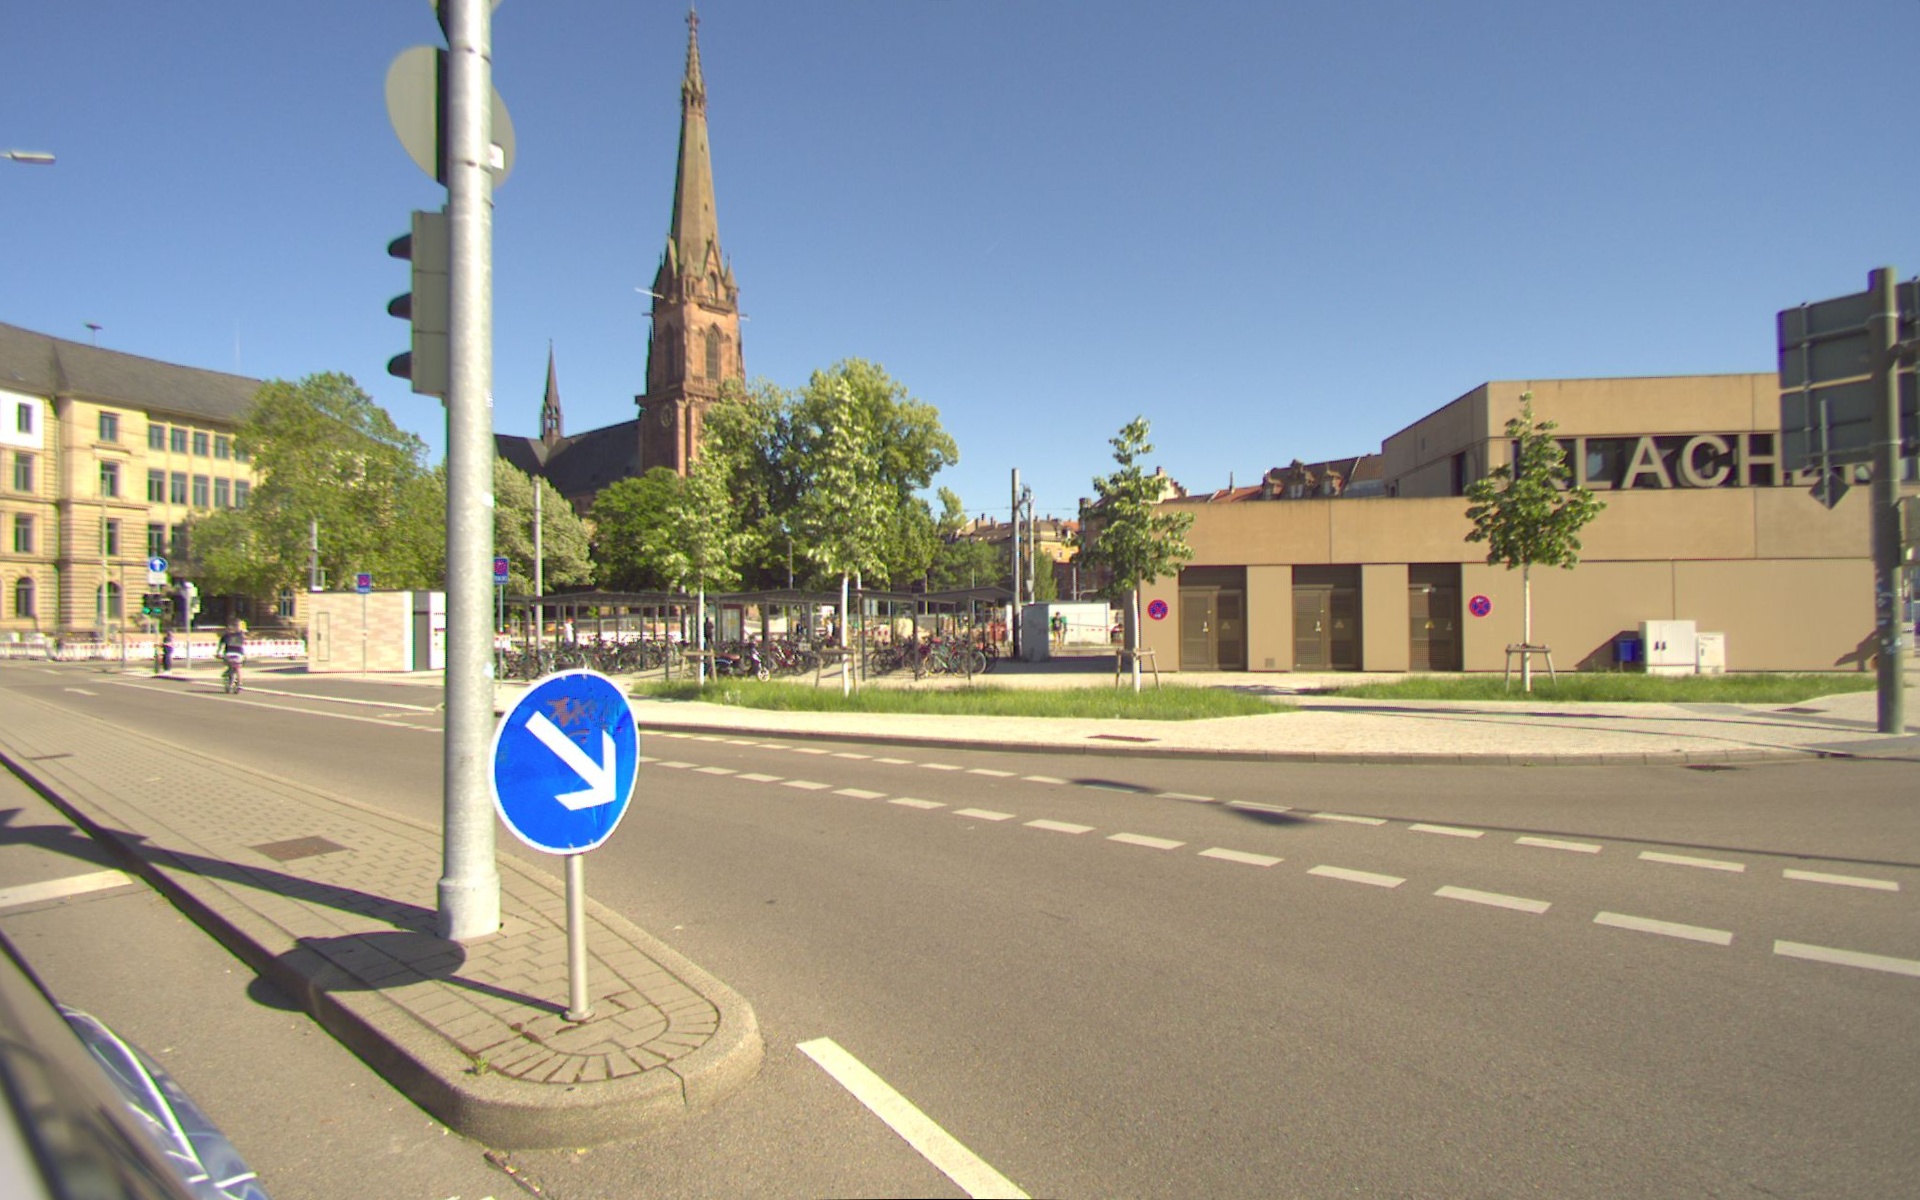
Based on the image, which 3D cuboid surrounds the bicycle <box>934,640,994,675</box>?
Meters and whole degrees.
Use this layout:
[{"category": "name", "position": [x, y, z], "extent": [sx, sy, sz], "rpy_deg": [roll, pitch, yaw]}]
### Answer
[{"category": "bicycle", "position": [0.128, 1.734, 30.717], "extent": [1.769, 1.046, 0.566], "rpy_deg": [0, -2, 12]}]

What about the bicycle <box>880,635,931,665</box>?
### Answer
[{"category": "bicycle", "position": [-1.940, 1.772, 36.003], "extent": [1.765, 1.046, 0.567], "rpy_deg": [0, -2, 5]}]

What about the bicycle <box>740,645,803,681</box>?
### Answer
[{"category": "bicycle", "position": [-5.582, 1.855, 30.054], "extent": [1.765, 1.046, 0.567], "rpy_deg": [0, -2, 5]}]

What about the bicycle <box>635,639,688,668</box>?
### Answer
[{"category": "bicycle", "position": [-10.839, 1.937, 36.816], "extent": [1.765, 1.046, 0.567], "rpy_deg": [0, -2, 5]}]

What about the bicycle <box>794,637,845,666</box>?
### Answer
[{"category": "bicycle", "position": [-5.103, 1.860, 36.783], "extent": [1.765, 1.046, 0.567], "rpy_deg": [0, -2, 5]}]

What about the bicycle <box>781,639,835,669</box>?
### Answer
[{"category": "bicycle", "position": [-5.253, 1.860, 34.912], "extent": [1.765, 1.046, 0.567], "rpy_deg": [0, -2, 5]}]

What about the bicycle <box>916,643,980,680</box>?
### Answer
[{"category": "bicycle", "position": [-0.337, 1.734, 28.624], "extent": [1.765, 1.046, 0.567], "rpy_deg": [0, -2, 5]}]

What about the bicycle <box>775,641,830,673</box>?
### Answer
[{"category": "bicycle", "position": [-5.300, 1.921, 34.147], "extent": [1.765, 1.046, 0.567], "rpy_deg": [0, -2, 5]}]

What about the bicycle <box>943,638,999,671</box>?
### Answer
[{"category": "bicycle", "position": [0.354, 1.733, 32.169], "extent": [1.765, 1.046, 0.567], "rpy_deg": [0, -2, 5]}]

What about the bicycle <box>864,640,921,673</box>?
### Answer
[{"category": "bicycle", "position": [-2.154, 1.793, 32.326], "extent": [1.765, 1.046, 0.567], "rpy_deg": [0, -2, 5]}]

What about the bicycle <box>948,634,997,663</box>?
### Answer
[{"category": "bicycle", "position": [0.453, 1.735, 36.452], "extent": [1.765, 1.046, 0.567], "rpy_deg": [0, -2, 5]}]

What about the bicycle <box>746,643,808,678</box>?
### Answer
[{"category": "bicycle", "position": [-5.548, 1.838, 30.657], "extent": [1.765, 1.046, 0.567], "rpy_deg": [0, -2, 5]}]

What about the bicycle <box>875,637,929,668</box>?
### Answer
[{"category": "bicycle", "position": [-1.973, 1.779, 34.590], "extent": [1.765, 1.046, 0.567], "rpy_deg": [0, -2, 5]}]

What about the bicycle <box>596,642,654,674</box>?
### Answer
[{"category": "bicycle", "position": [-11.122, 1.915, 33.629], "extent": [1.765, 1.046, 0.567], "rpy_deg": [0, -2, 5]}]

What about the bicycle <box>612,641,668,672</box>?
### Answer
[{"category": "bicycle", "position": [-11.012, 1.937, 34.865], "extent": [1.765, 1.046, 0.567], "rpy_deg": [0, -2, 5]}]

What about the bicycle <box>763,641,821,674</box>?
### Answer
[{"category": "bicycle", "position": [-5.415, 1.859, 32.722], "extent": [1.765, 1.046, 0.567], "rpy_deg": [0, -2, 5]}]

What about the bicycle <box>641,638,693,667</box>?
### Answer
[{"category": "bicycle", "position": [-10.837, 1.928, 37.448], "extent": [1.765, 1.046, 0.567], "rpy_deg": [0, -2, 5]}]

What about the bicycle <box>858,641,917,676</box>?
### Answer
[{"category": "bicycle", "position": [-2.243, 1.806, 31.331], "extent": [1.765, 1.046, 0.567], "rpy_deg": [0, -2, 5]}]

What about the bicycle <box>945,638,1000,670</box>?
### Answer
[{"category": "bicycle", "position": [0.422, 1.766, 33.452], "extent": [1.765, 1.046, 0.567], "rpy_deg": [0, -2, 5]}]

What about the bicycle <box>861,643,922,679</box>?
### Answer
[{"category": "bicycle", "position": [-2.022, 1.799, 30.037], "extent": [1.765, 1.046, 0.567], "rpy_deg": [0, -2, 5]}]

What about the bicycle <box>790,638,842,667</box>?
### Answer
[{"category": "bicycle", "position": [-5.143, 1.873, 36.145], "extent": [1.765, 1.046, 0.567], "rpy_deg": [0, -2, 5]}]

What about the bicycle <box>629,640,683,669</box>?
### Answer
[{"category": "bicycle", "position": [-10.873, 1.950, 36.189], "extent": [1.765, 1.046, 0.567], "rpy_deg": [0, -2, 5]}]

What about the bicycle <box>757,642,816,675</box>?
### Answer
[{"category": "bicycle", "position": [-5.485, 1.850, 32.036], "extent": [1.765, 1.046, 0.567], "rpy_deg": [0, -2, 5]}]

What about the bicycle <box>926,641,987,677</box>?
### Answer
[{"category": "bicycle", "position": [-0.096, 1.724, 29.555], "extent": [1.765, 1.046, 0.567], "rpy_deg": [0, -2, 5]}]

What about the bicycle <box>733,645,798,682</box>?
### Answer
[{"category": "bicycle", "position": [-5.635, 1.842, 29.392], "extent": [1.765, 1.046, 0.567], "rpy_deg": [0, -2, 5]}]

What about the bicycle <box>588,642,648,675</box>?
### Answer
[{"category": "bicycle", "position": [-11.163, 1.910, 33.029], "extent": [1.765, 1.046, 0.567], "rpy_deg": [0, -2, 5]}]

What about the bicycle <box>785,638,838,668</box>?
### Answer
[{"category": "bicycle", "position": [-5.195, 1.856, 35.513], "extent": [1.765, 1.046, 0.567], "rpy_deg": [0, -2, 5]}]

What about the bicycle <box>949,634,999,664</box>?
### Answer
[{"category": "bicycle", "position": [0.497, 1.740, 35.737], "extent": [1.765, 1.046, 0.567], "rpy_deg": [0, -2, 5]}]

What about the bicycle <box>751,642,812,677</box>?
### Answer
[{"category": "bicycle", "position": [-5.527, 1.843, 31.401], "extent": [1.765, 1.046, 0.567], "rpy_deg": [0, -2, 5]}]

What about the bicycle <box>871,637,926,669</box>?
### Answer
[{"category": "bicycle", "position": [-2.045, 1.773, 33.874], "extent": [1.765, 1.046, 0.567], "rpy_deg": [0, -2, 5]}]

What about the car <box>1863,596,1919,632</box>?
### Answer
[{"category": "car", "position": [66.637, 0.965, 70.284], "extent": [1.968, 2.429, 5.516], "rpy_deg": [0, -1, -38]}]

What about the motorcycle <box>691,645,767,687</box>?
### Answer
[{"category": "motorcycle", "position": [-6.341, 1.810, 27.804], "extent": [1.962, 1.127, 0.593], "rpy_deg": [-1, -1, 9]}]
